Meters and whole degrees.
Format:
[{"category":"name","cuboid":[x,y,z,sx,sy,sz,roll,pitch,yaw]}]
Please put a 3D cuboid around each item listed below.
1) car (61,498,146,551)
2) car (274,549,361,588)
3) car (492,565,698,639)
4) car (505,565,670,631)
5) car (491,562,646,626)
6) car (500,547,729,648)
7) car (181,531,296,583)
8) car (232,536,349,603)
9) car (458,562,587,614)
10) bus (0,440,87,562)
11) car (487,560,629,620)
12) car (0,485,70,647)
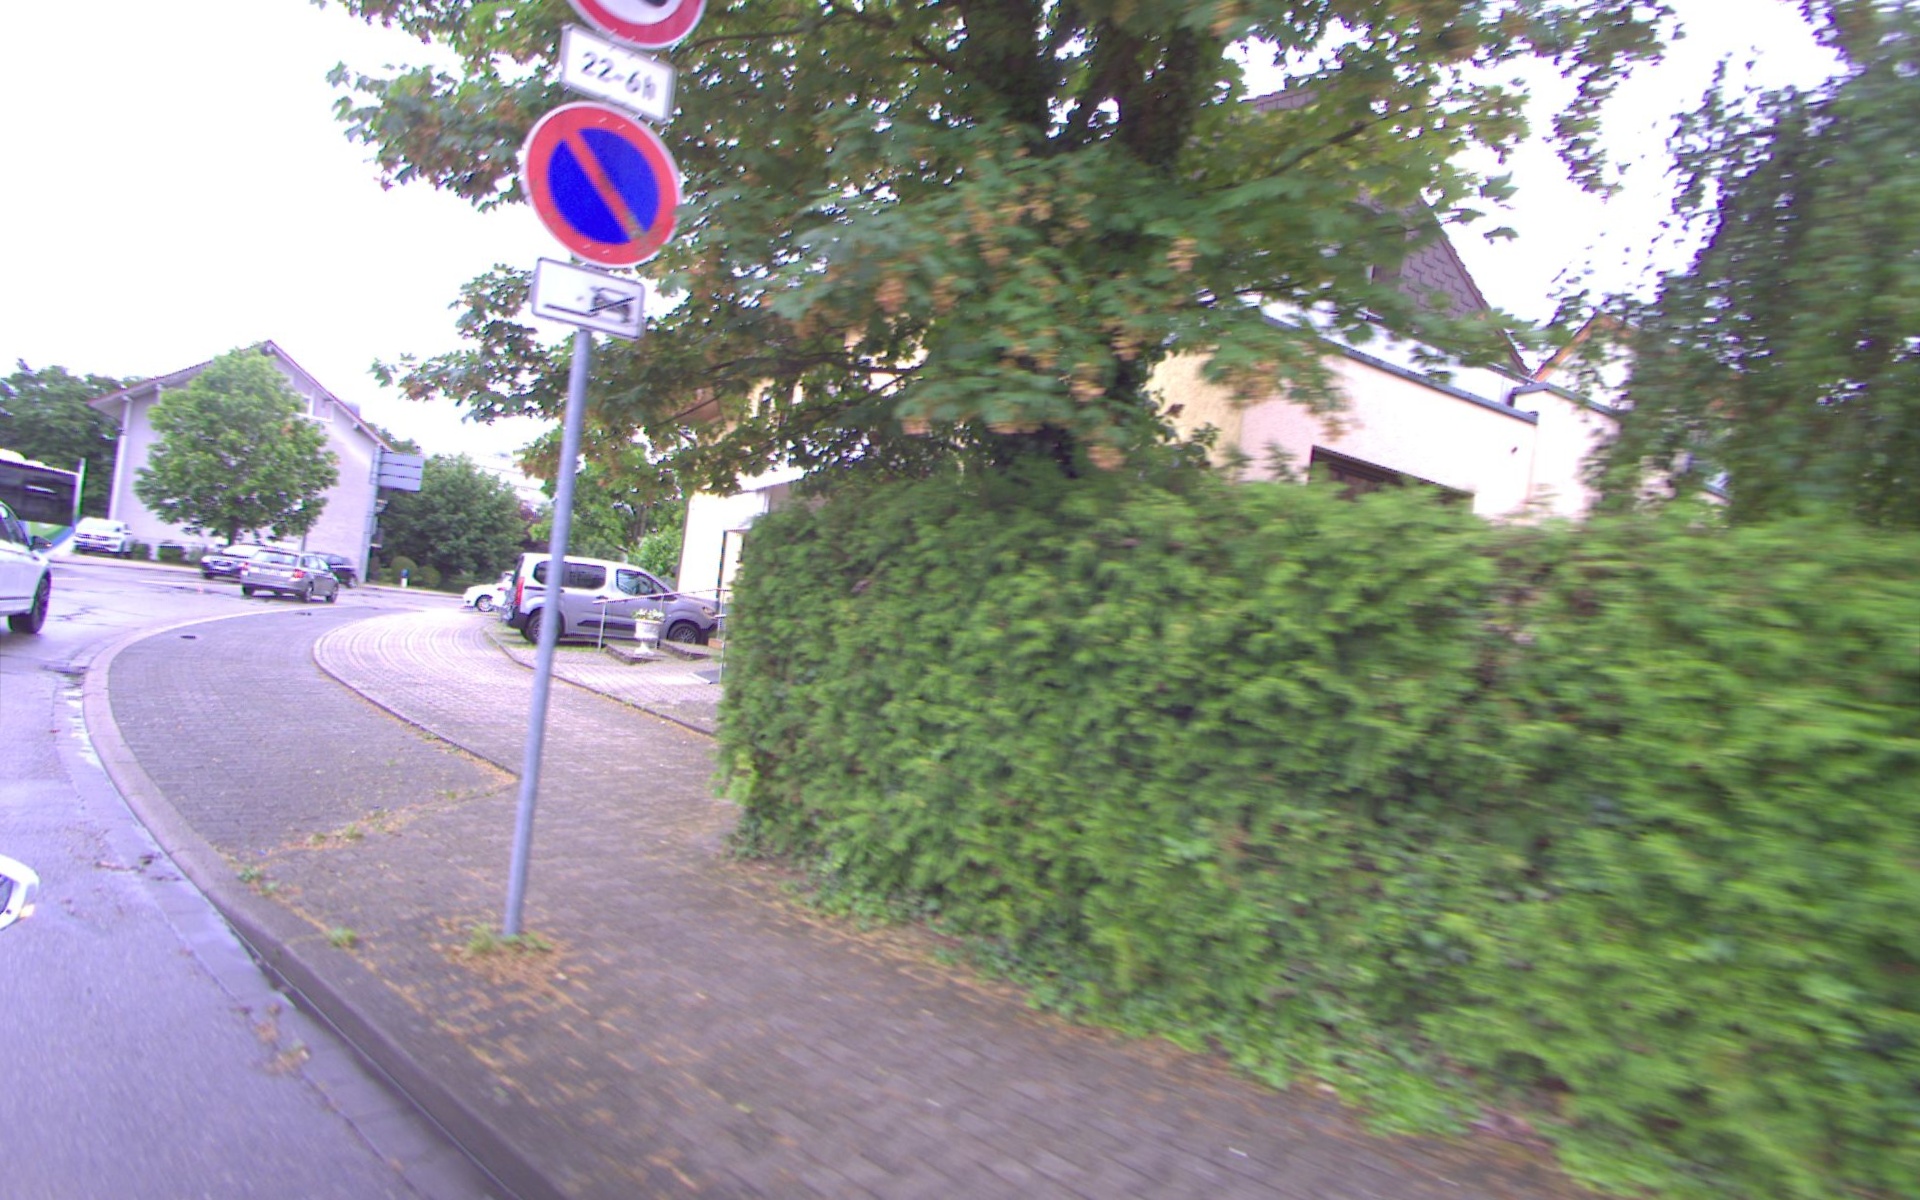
[{"category":"car","cuboid":[-35.921,-3.105,42.319,1.982,1.668,3.969,9,-4,-32]},{"category":"car","cuboid":[-28.655,-1.377,45.010,1.564,1.439,3.693,6,-1,-3]},{"category":"car","cuboid":[-8.644,0.066,23.909,4.323,1.442,1.683,4,0,-30]},{"category":"car","cuboid":[-10.203,-0.048,27.555,4.004,1.509,1.893,4,0,-26]},{"category":"car","cuboid":[-11.662,-0.161,29.979,4.009,1.617,1.882,4,0,-30]},{"category":"car","cuboid":[-7.303,-0.020,21.342,4.257,1.804,1.891,4,1,-30]},{"category":"car","cuboid":[-25.831,-1.502,36.205,1.836,1.537,4.280,6,-1,-15]},{"category":"car","cuboid":[-19.977,-0.850,30.203,1.746,1.526,3.989,8,-4,-18]},{"category":"car","cuboid":[-16.423,-0.450,37.992,4.291,1.617,1.758,4,1,-22]},{"category":"bus","cuboid":[-25.735,-2.692,24.809,2.552,3.037,8.383,6,0,-14]},{"category":"car","cuboid":[-12.967,-0.318,32.465,4.007,1.617,1.892,4,0,-29]},{"category":"car","cuboid":[-11.561,-0.511,11.056,1.910,1.742,4.227,9,-2,-33]}]
